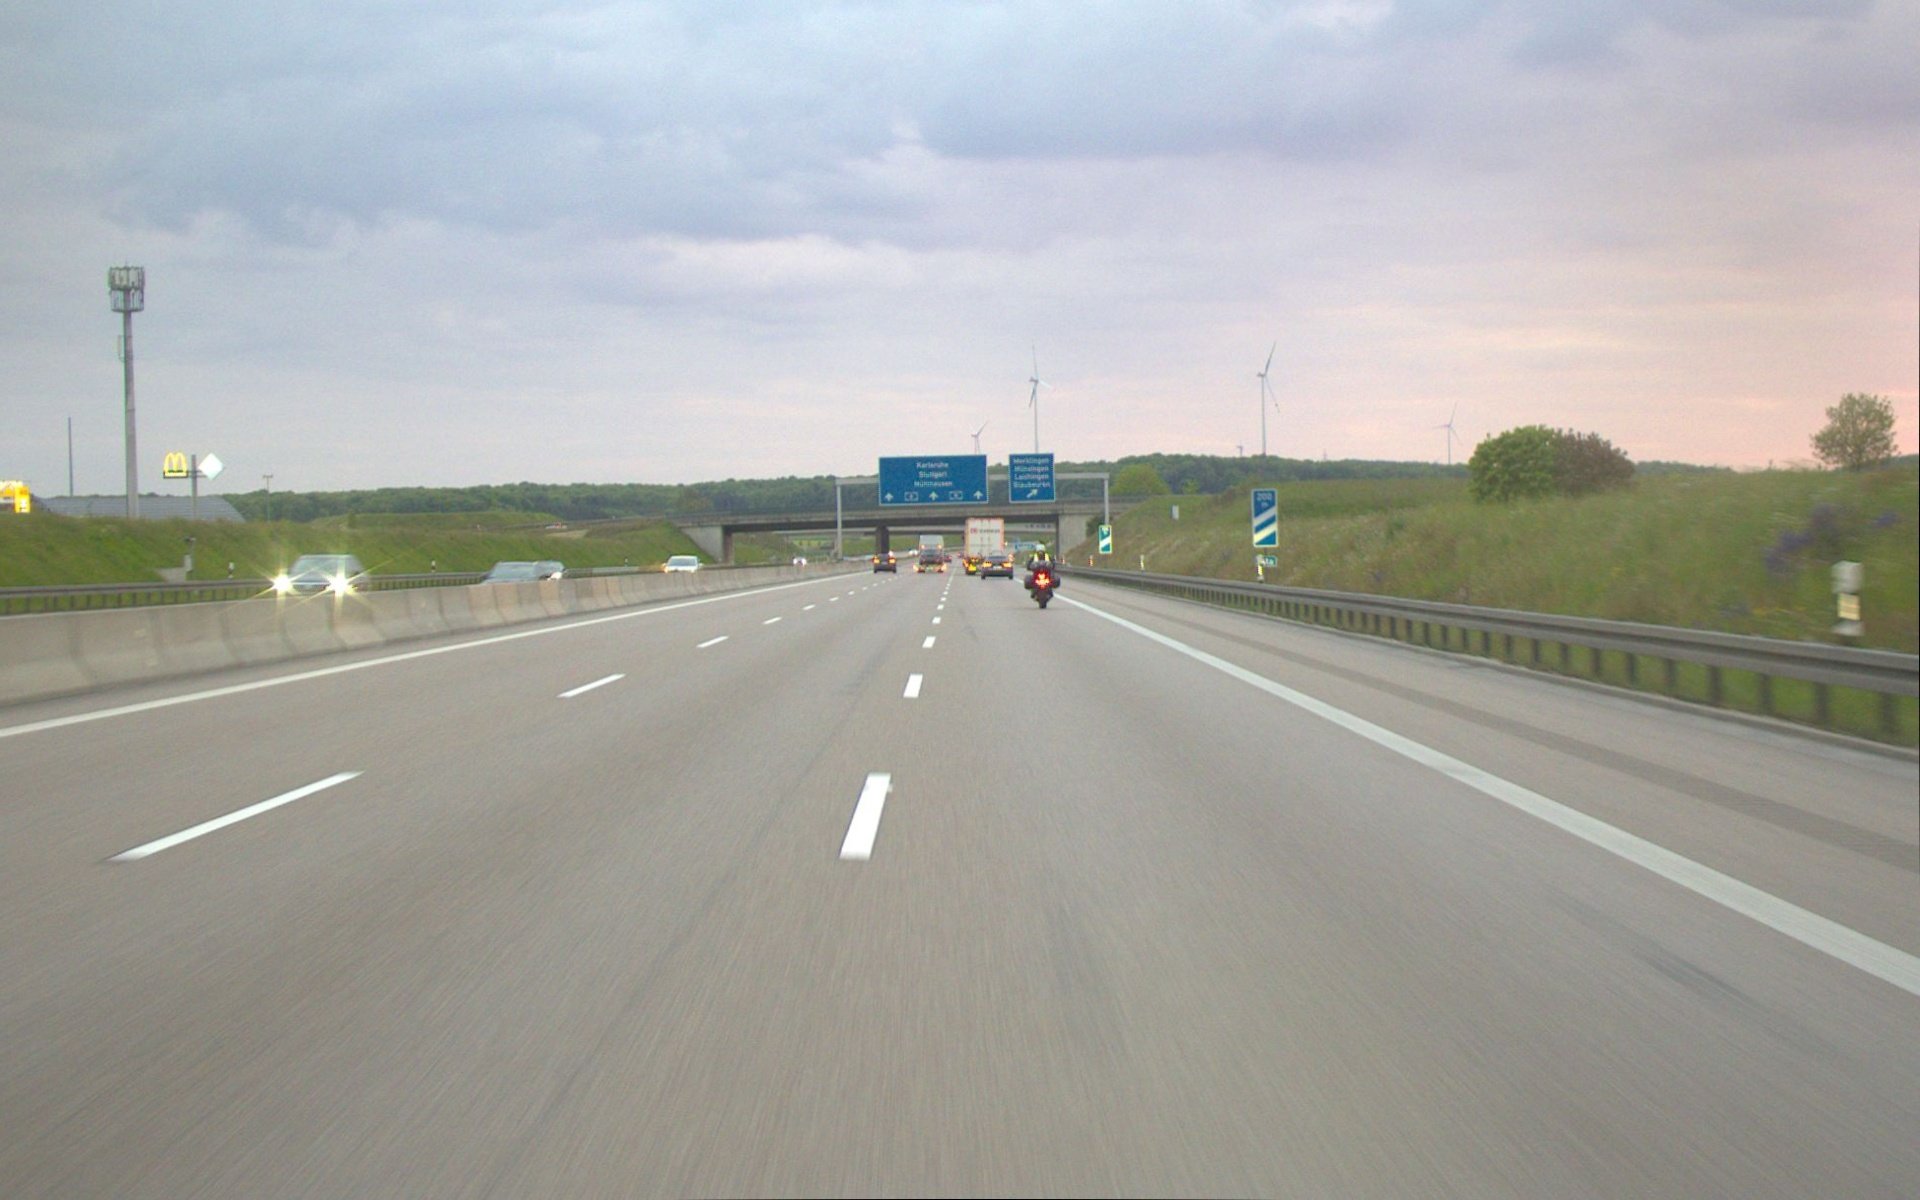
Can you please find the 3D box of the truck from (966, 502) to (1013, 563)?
[{"bbox_3d":[2.124,-4.863,244.880,3.234,4.213,9.599,1,1,0],"label":"truck"}]

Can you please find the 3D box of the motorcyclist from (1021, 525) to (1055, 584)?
[{"bbox_3d":[2.030,-1.185,89.150,0.866,1.482,1.168,1,1,2],"label":"motorcyclist"}]

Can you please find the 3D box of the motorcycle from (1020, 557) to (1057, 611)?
[{"bbox_3d":[2.028,-0.422,89.092,0.902,1.342,2.349,0,2,0],"label":"motorcycle"}]

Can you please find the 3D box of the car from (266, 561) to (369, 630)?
[{"bbox_3d":[-17.858,-0.149,95.732,2.099,1.804,5.022,-1,1,-3],"label":"car"}]

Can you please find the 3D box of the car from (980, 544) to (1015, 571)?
[{"bbox_3d":[2.206,-2.488,201.759,1.918,1.574,4.000,-1,1,-1],"label":"car"}]

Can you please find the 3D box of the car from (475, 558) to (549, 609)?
[{"bbox_3d":[-13.644,-0.523,104.826,1.738,1.494,4.131,-1,1,-1],"label":"car"}]
